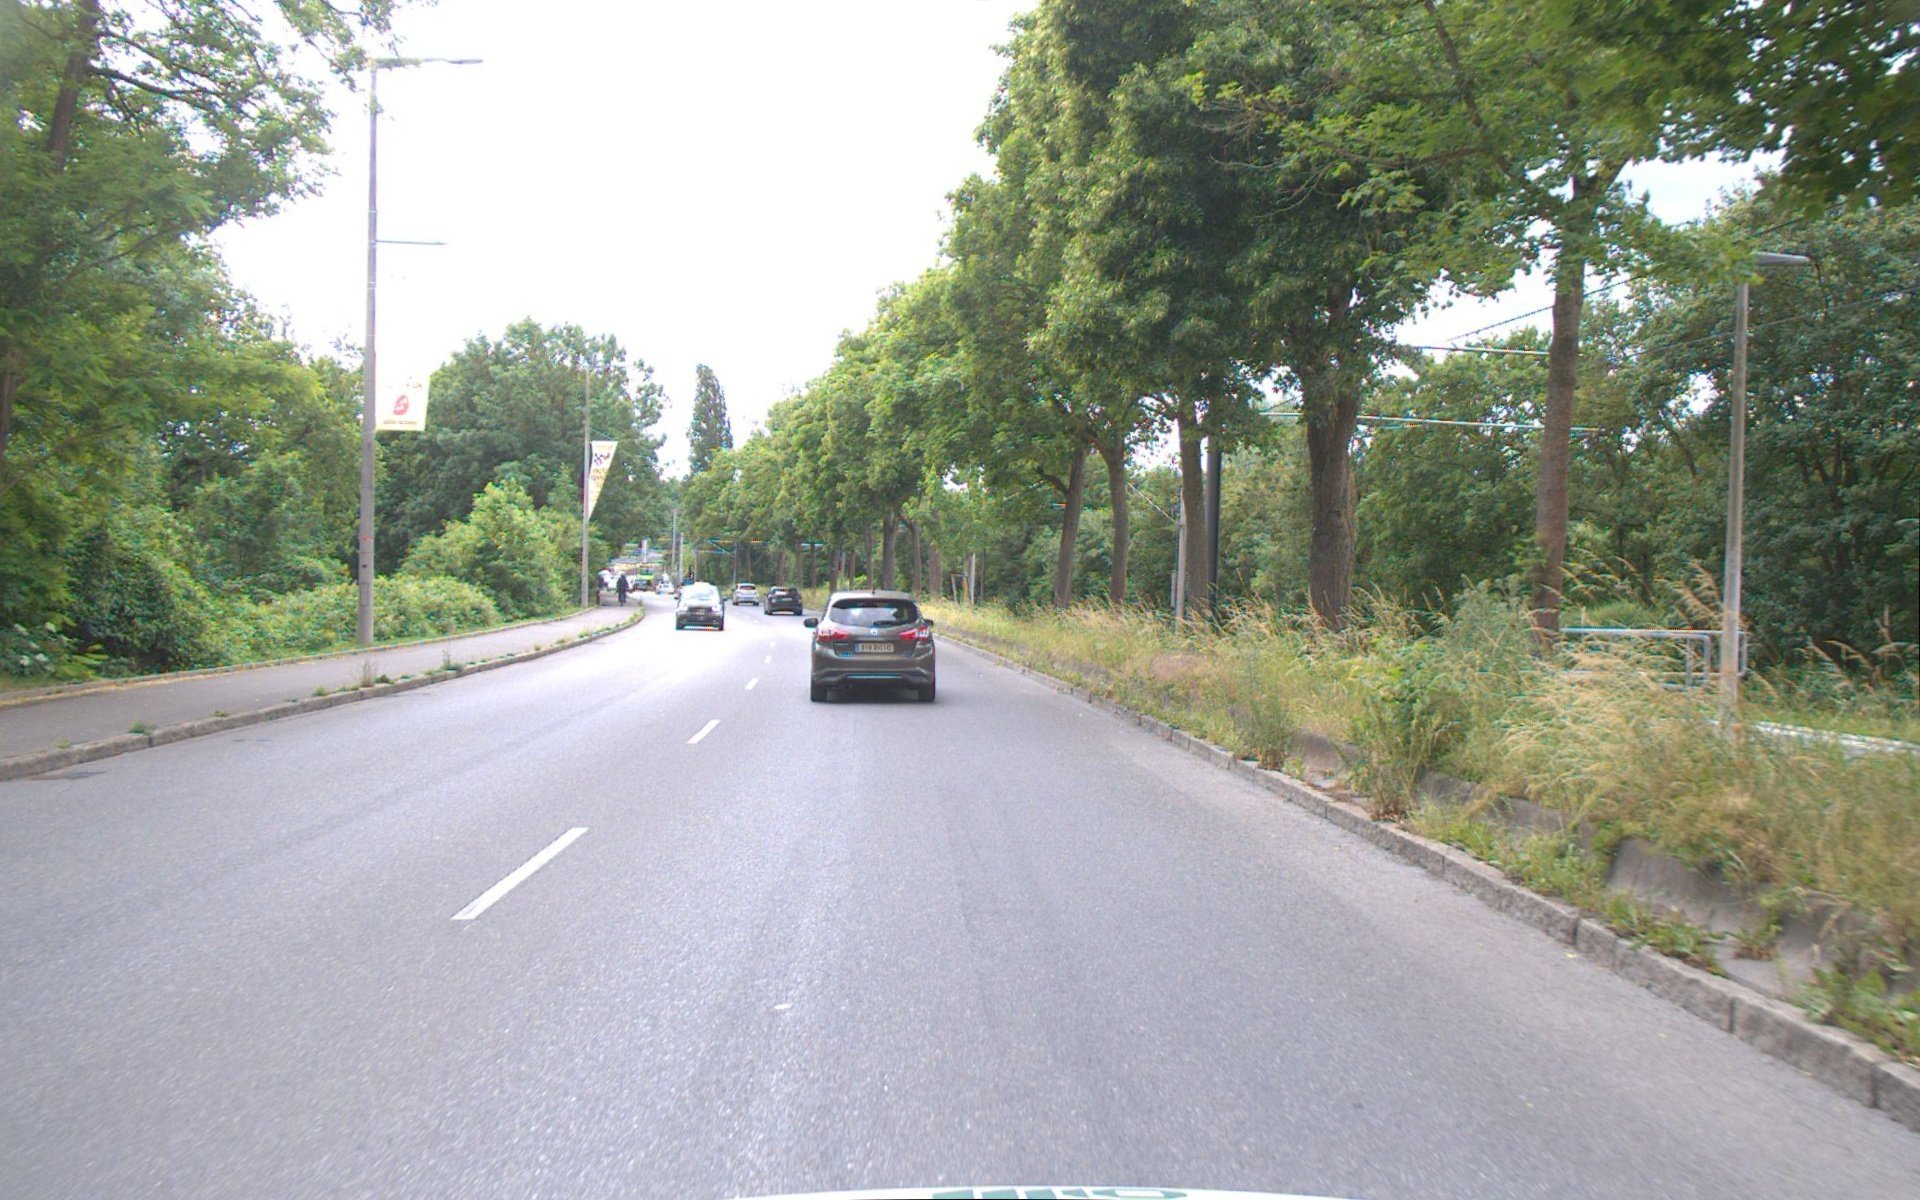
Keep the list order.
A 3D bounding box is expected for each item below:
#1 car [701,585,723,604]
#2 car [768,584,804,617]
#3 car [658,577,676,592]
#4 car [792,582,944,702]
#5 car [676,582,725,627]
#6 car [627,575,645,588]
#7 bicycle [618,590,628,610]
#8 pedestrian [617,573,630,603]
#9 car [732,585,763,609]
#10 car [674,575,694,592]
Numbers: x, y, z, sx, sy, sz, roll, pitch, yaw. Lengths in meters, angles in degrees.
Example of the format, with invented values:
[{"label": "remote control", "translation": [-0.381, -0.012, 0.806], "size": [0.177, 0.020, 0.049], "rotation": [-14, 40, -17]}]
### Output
[{"label": "car", "translation": [-21.823, -0.490, 145.554], "size": [1.744, 1.497, 3.990], "rotation": [2, 1, -11]}, {"label": "car", "translation": [-8.896, 0.005, 84.726], "size": [1.742, 1.497, 3.996], "rotation": [3, 1, -6]}, {"label": "car", "translation": [-31.839, -1.682, 179.573], "size": [1.744, 1.497, 3.990], "rotation": [3, 1, -11]}, {"label": "car", "translation": [-1.432, 0.546, 24.173], "size": [1.783, 1.534, 3.992], "rotation": [1, 1, -10]}, {"label": "car", "translation": [-9.050, 0.135, 57.932], "size": [1.565, 1.532, 3.024], "rotation": [0, 0, -7]}, {"label": "car", "translation": [-40.334, -2.308, 205.999], "size": [1.748, 1.497, 3.982], "rotation": [3, 1, -17]}, {"label": "bicycle", "translation": [-18.905, -0.007, 92.815], "size": [0.479, 1.048, 1.122], "rotation": [3, 1, -9]}, {"label": "pedestrian", "translation": [-18.893, -0.687, 92.867], "size": [0.606, 1.598, 0.847], "rotation": [3, 1, -9]}, {"label": "car", "translation": [-14.719, -0.222, 114.308], "size": [1.745, 1.497, 3.989], "rotation": [3, 1, -12]}, {"label": "car", "translation": [-26.439, -1.586, 158.495], "size": [1.744, 1.497, 3.990], "rotation": [2, 1, -11]}]
